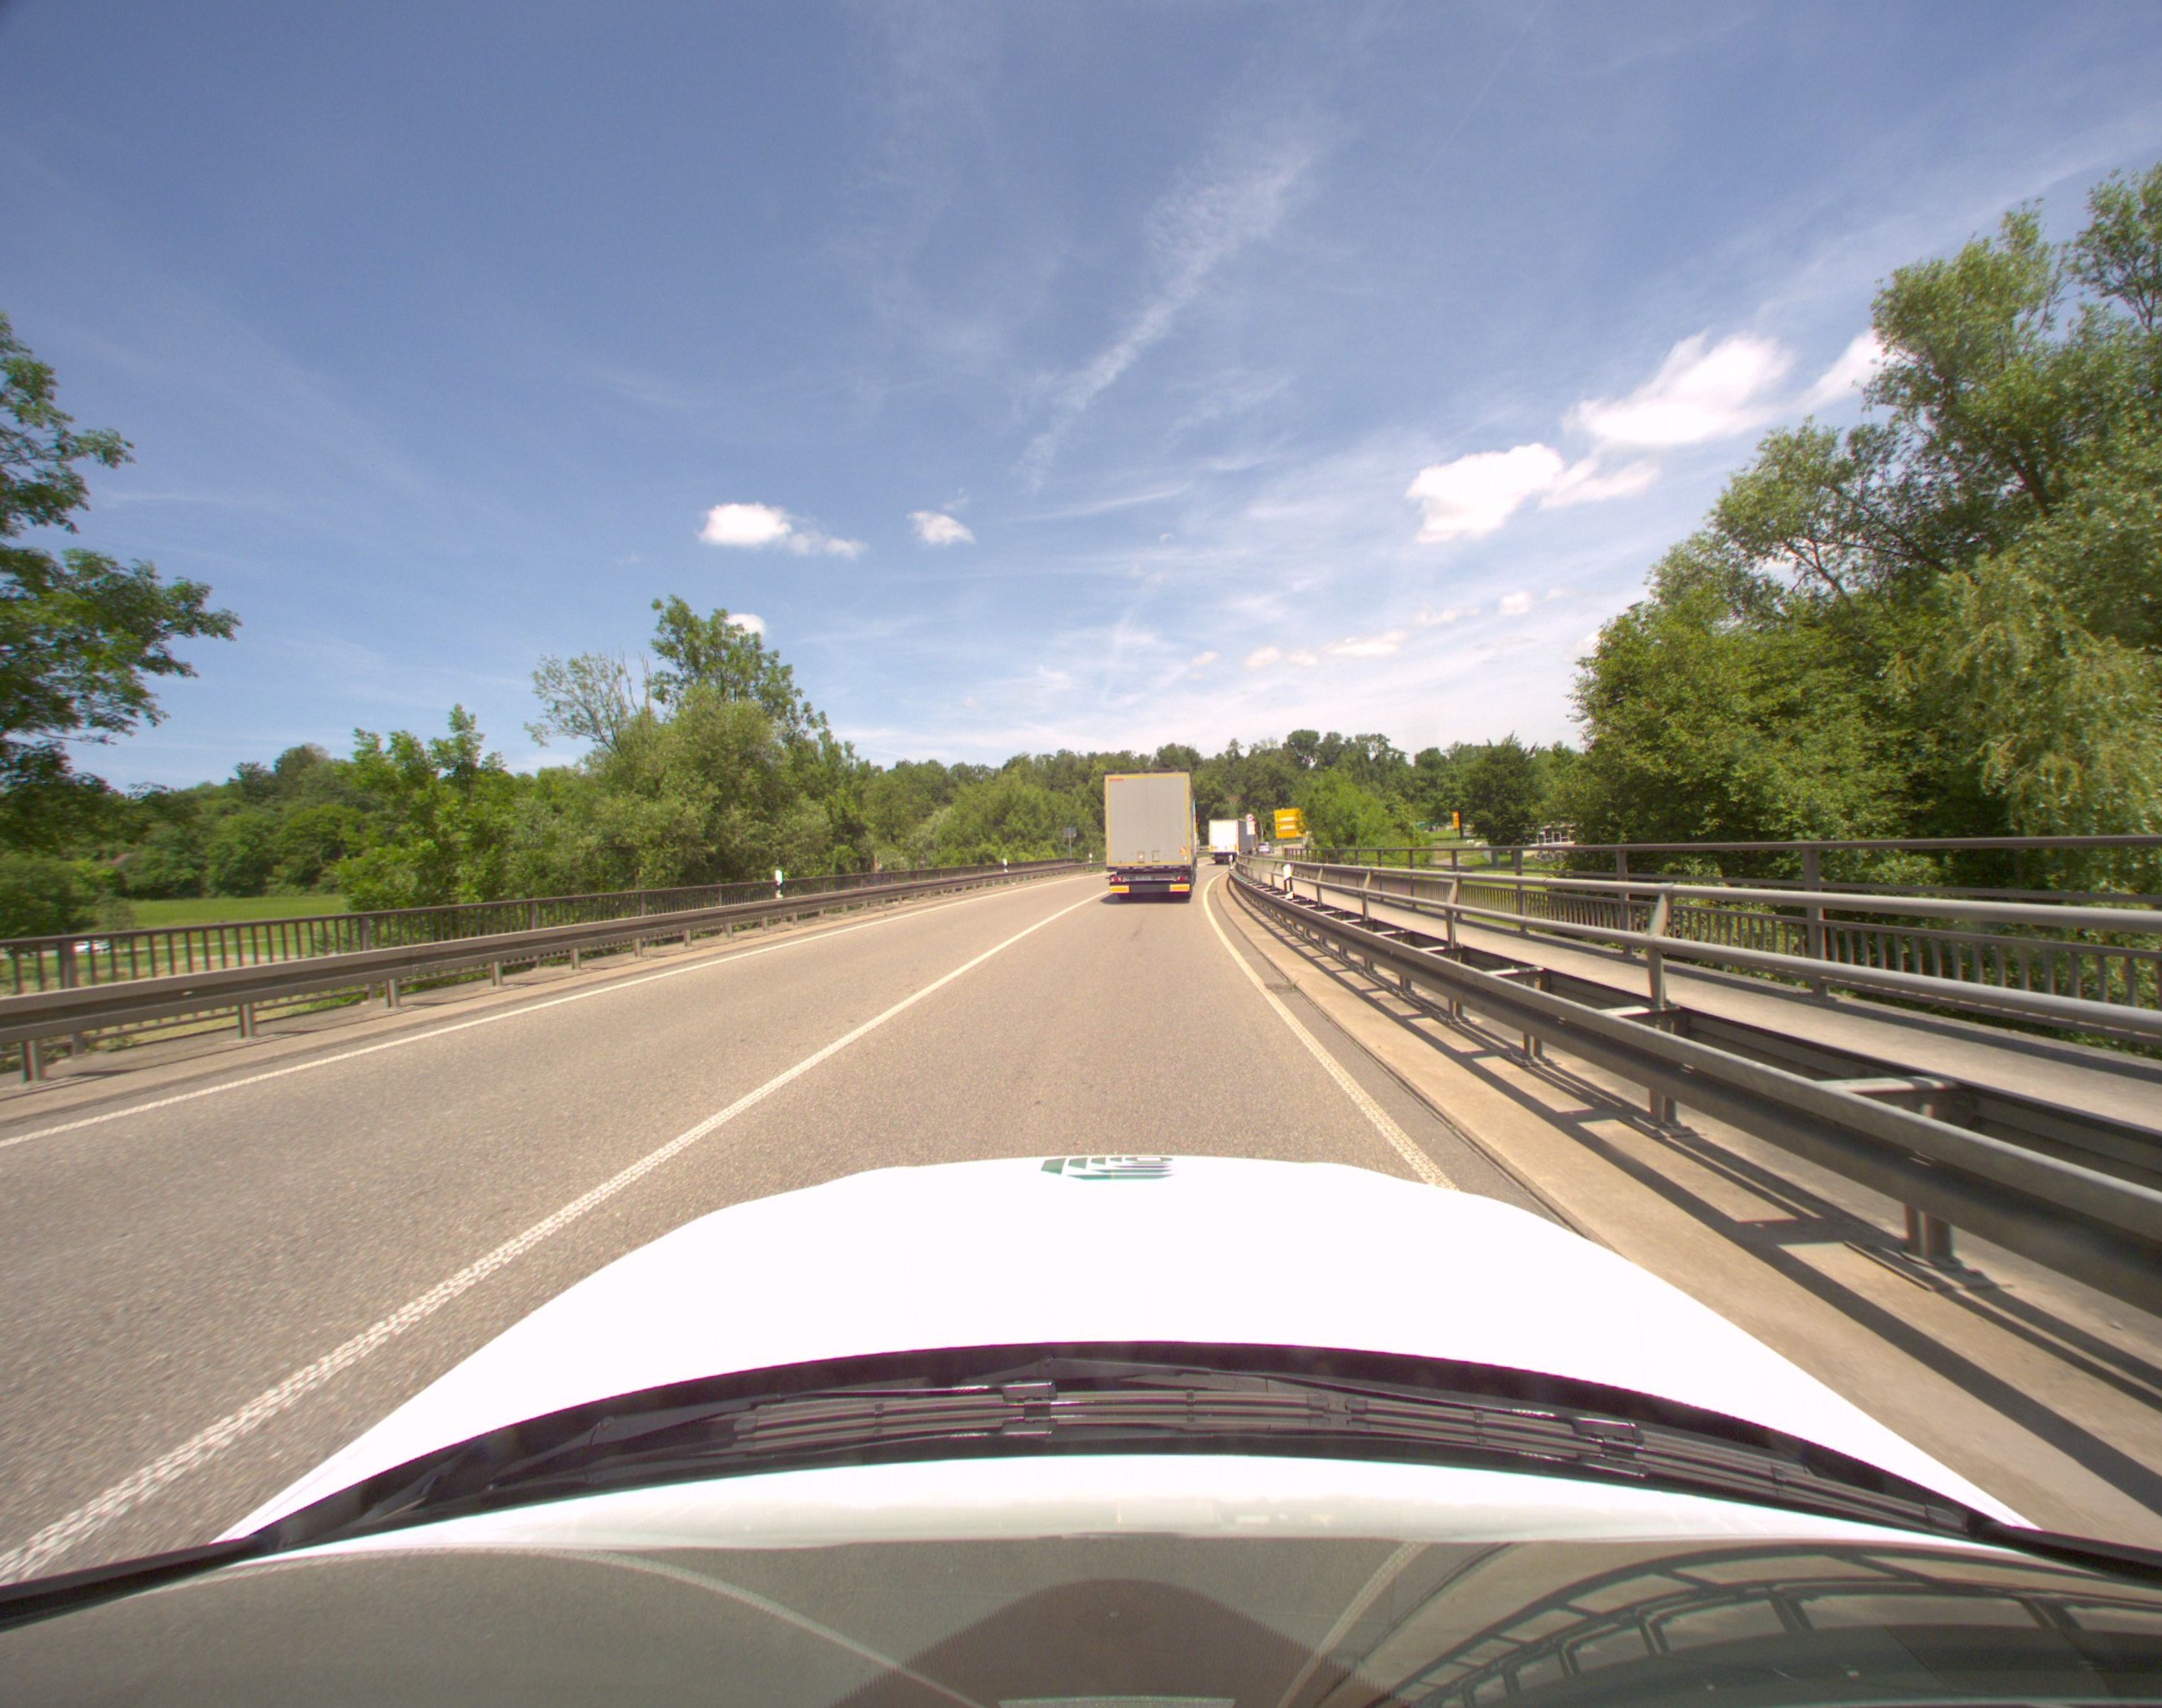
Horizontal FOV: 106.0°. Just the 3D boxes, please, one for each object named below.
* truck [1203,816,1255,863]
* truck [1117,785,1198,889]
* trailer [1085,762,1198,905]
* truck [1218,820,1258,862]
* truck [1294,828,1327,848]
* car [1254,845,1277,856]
[{"bbox_3d":[14.057,-1.274,76.407,3.154,4.029,11.800,-2,0,18],"label":"truck"},{"bbox_3d":[3.479,-0.686,35.444,3.021,4.033,6.645,-2,0,8],"label":"truck"},{"bbox_3d":[2.628,-0.634,29.792,3.034,4.033,12.589,-2,0,9],"label":"trailer"},{"bbox_3d":[15.891,-1.316,82.110,3.144,4.004,5.842,-1,0,17],"label":"truck"},{"bbox_3d":[35.937,-2.463,127.314,2.827,2.947,7.151,-1,1,35],"label":"truck"},{"bbox_3d":[25.597,-0.449,112.835,1.975,1.519,4.024,-1,-1,29],"label":"car"}]
